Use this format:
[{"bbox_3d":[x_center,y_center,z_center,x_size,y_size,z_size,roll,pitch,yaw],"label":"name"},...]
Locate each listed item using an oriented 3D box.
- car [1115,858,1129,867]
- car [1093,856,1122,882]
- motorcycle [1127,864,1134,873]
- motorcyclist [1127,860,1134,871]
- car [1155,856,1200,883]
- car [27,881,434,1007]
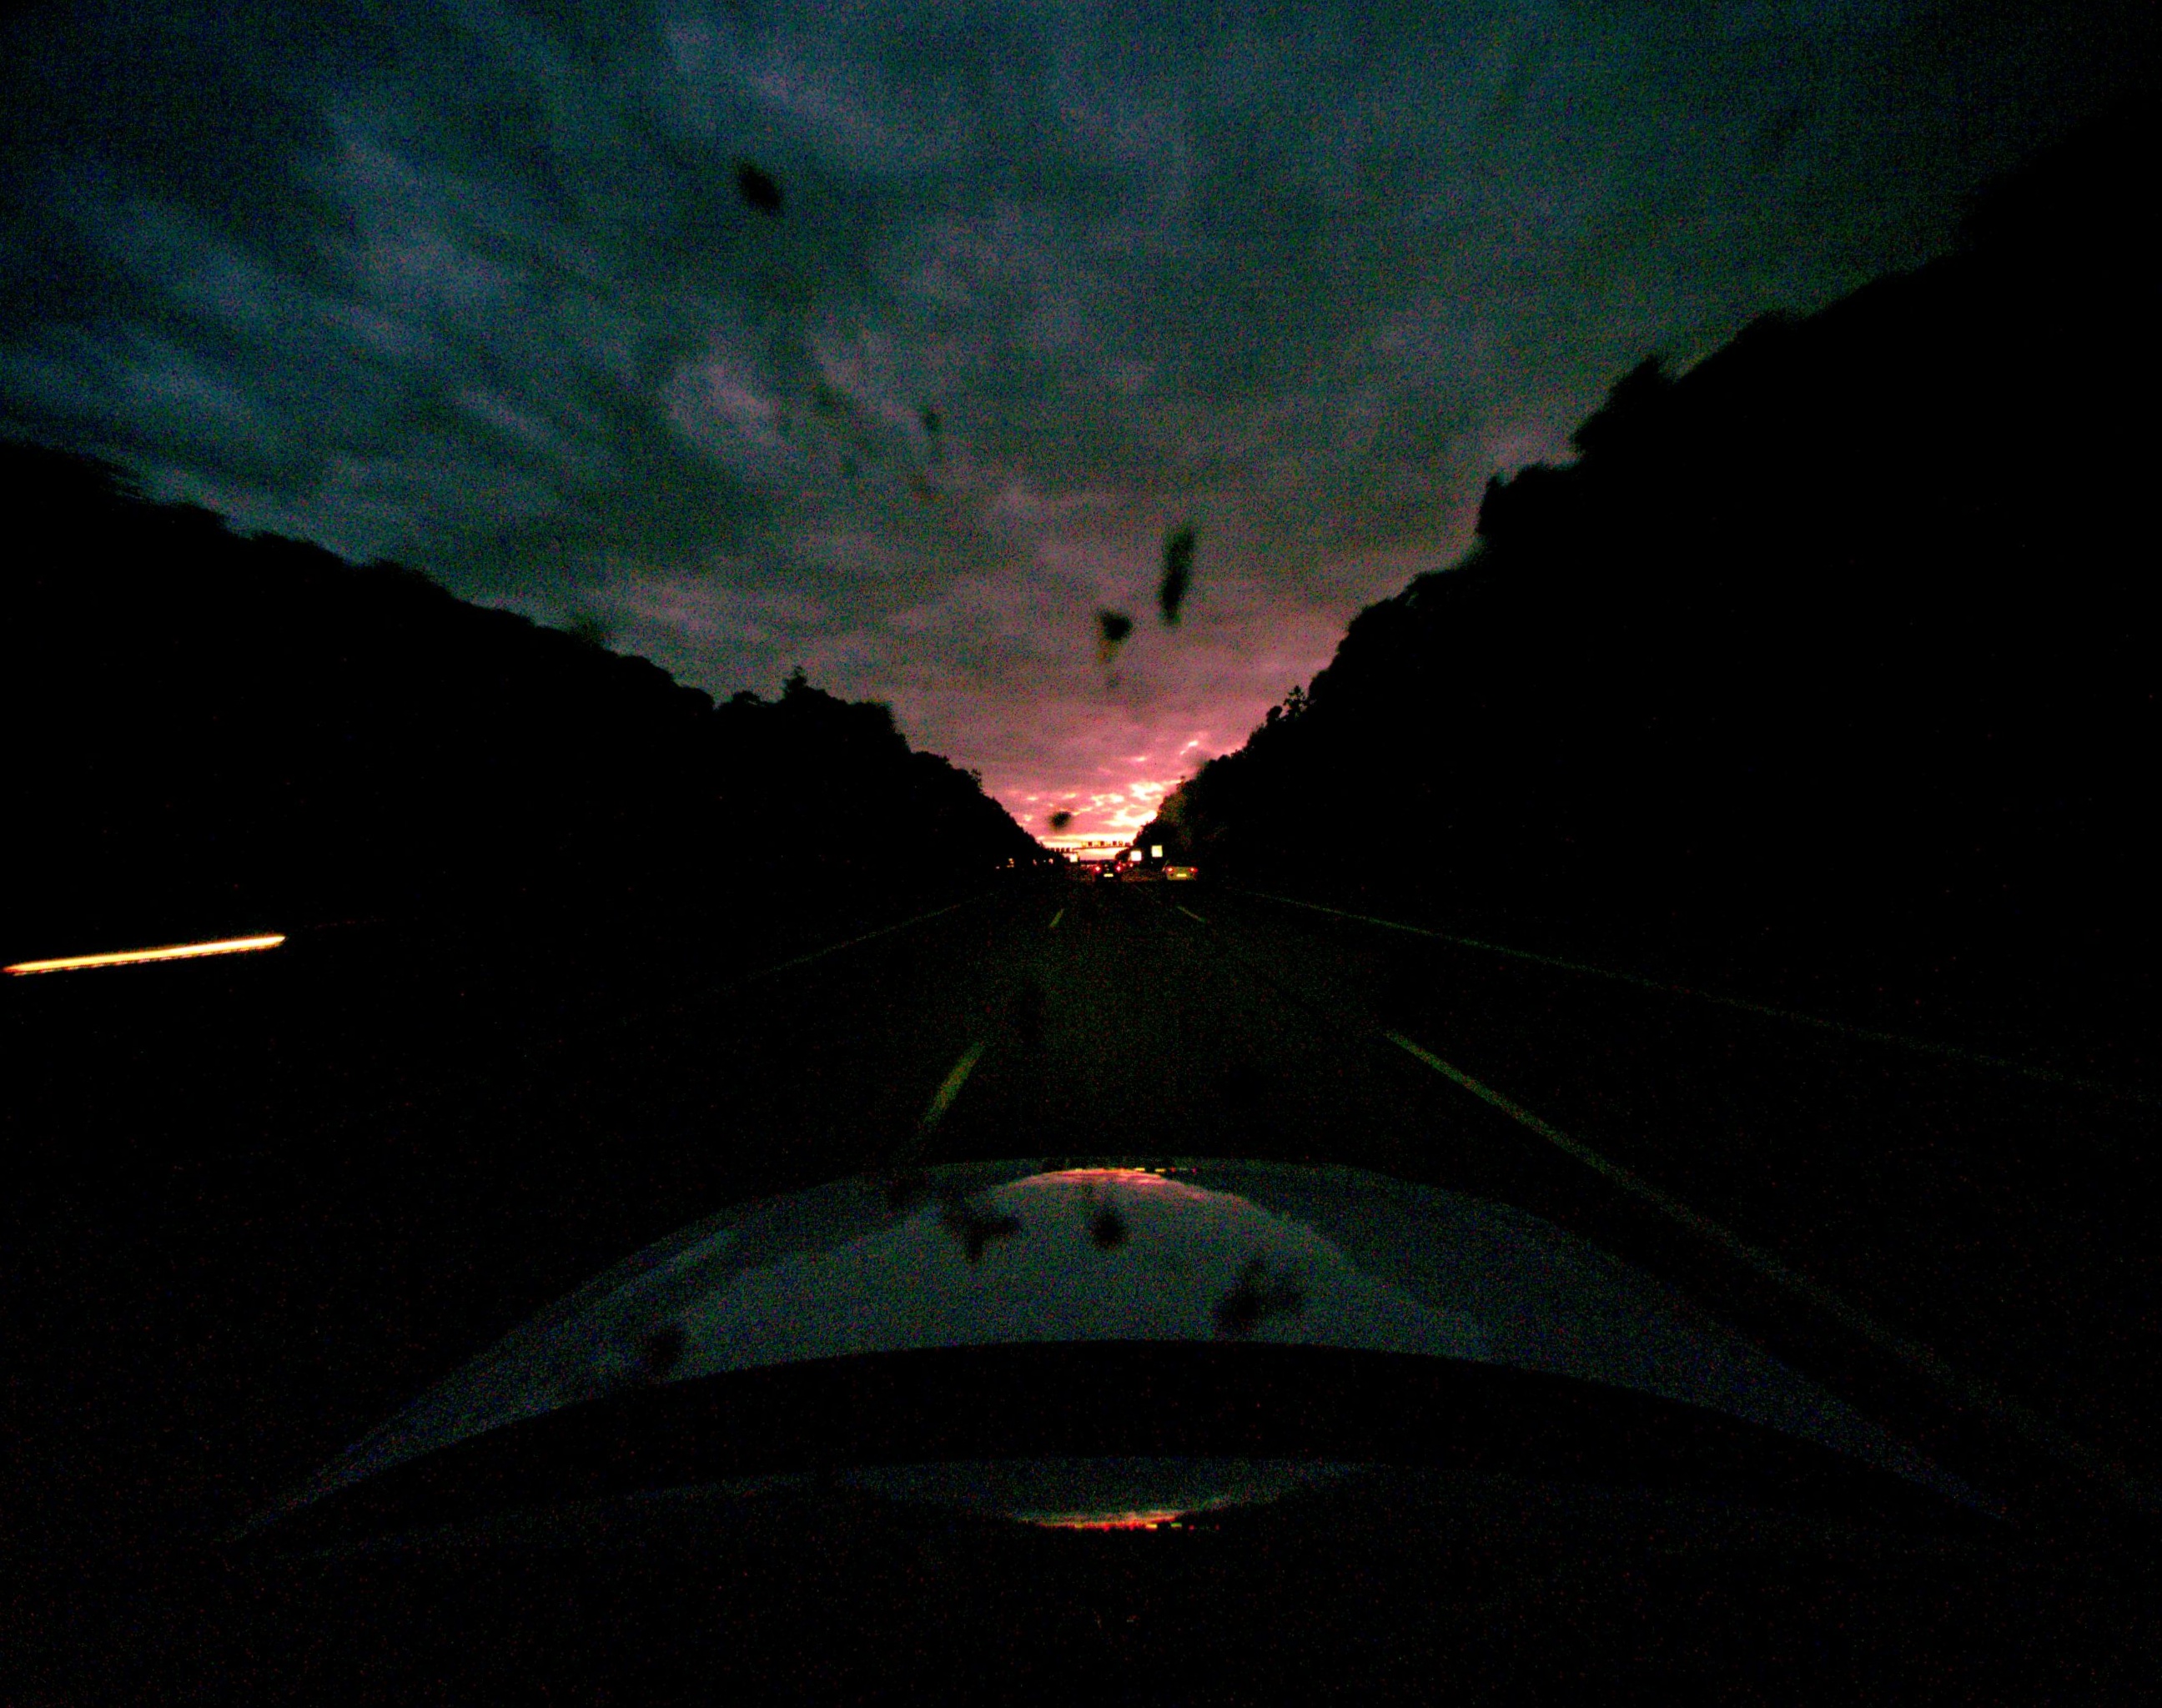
[{"bbox_3d":[7.036,1.504,140.603,1.861,1.494,4.392,0,-2,-3],"label":"car"},{"bbox_3d":[1.634,0.939,50.139,1.698,1.509,4.232,0,-2,1],"label":"car"},{"bbox_3d":[6.200,1.839,101.787,0.827,1.134,2.476,-1,-1,1],"label":"motorcycle"},{"bbox_3d":[6.194,1.475,101.723,0.827,1.292,1.190,-1,-1,1],"label":"motorcyclist"},{"bbox_3d":[5.526,0.924,47.077,1.822,1.476,4.392,0,-2,-3],"label":"car"},{"bbox_3d":[-13.705,1.327,13.676,1.874,1.575,4.654,-2,0,1],"label":"car"}]
